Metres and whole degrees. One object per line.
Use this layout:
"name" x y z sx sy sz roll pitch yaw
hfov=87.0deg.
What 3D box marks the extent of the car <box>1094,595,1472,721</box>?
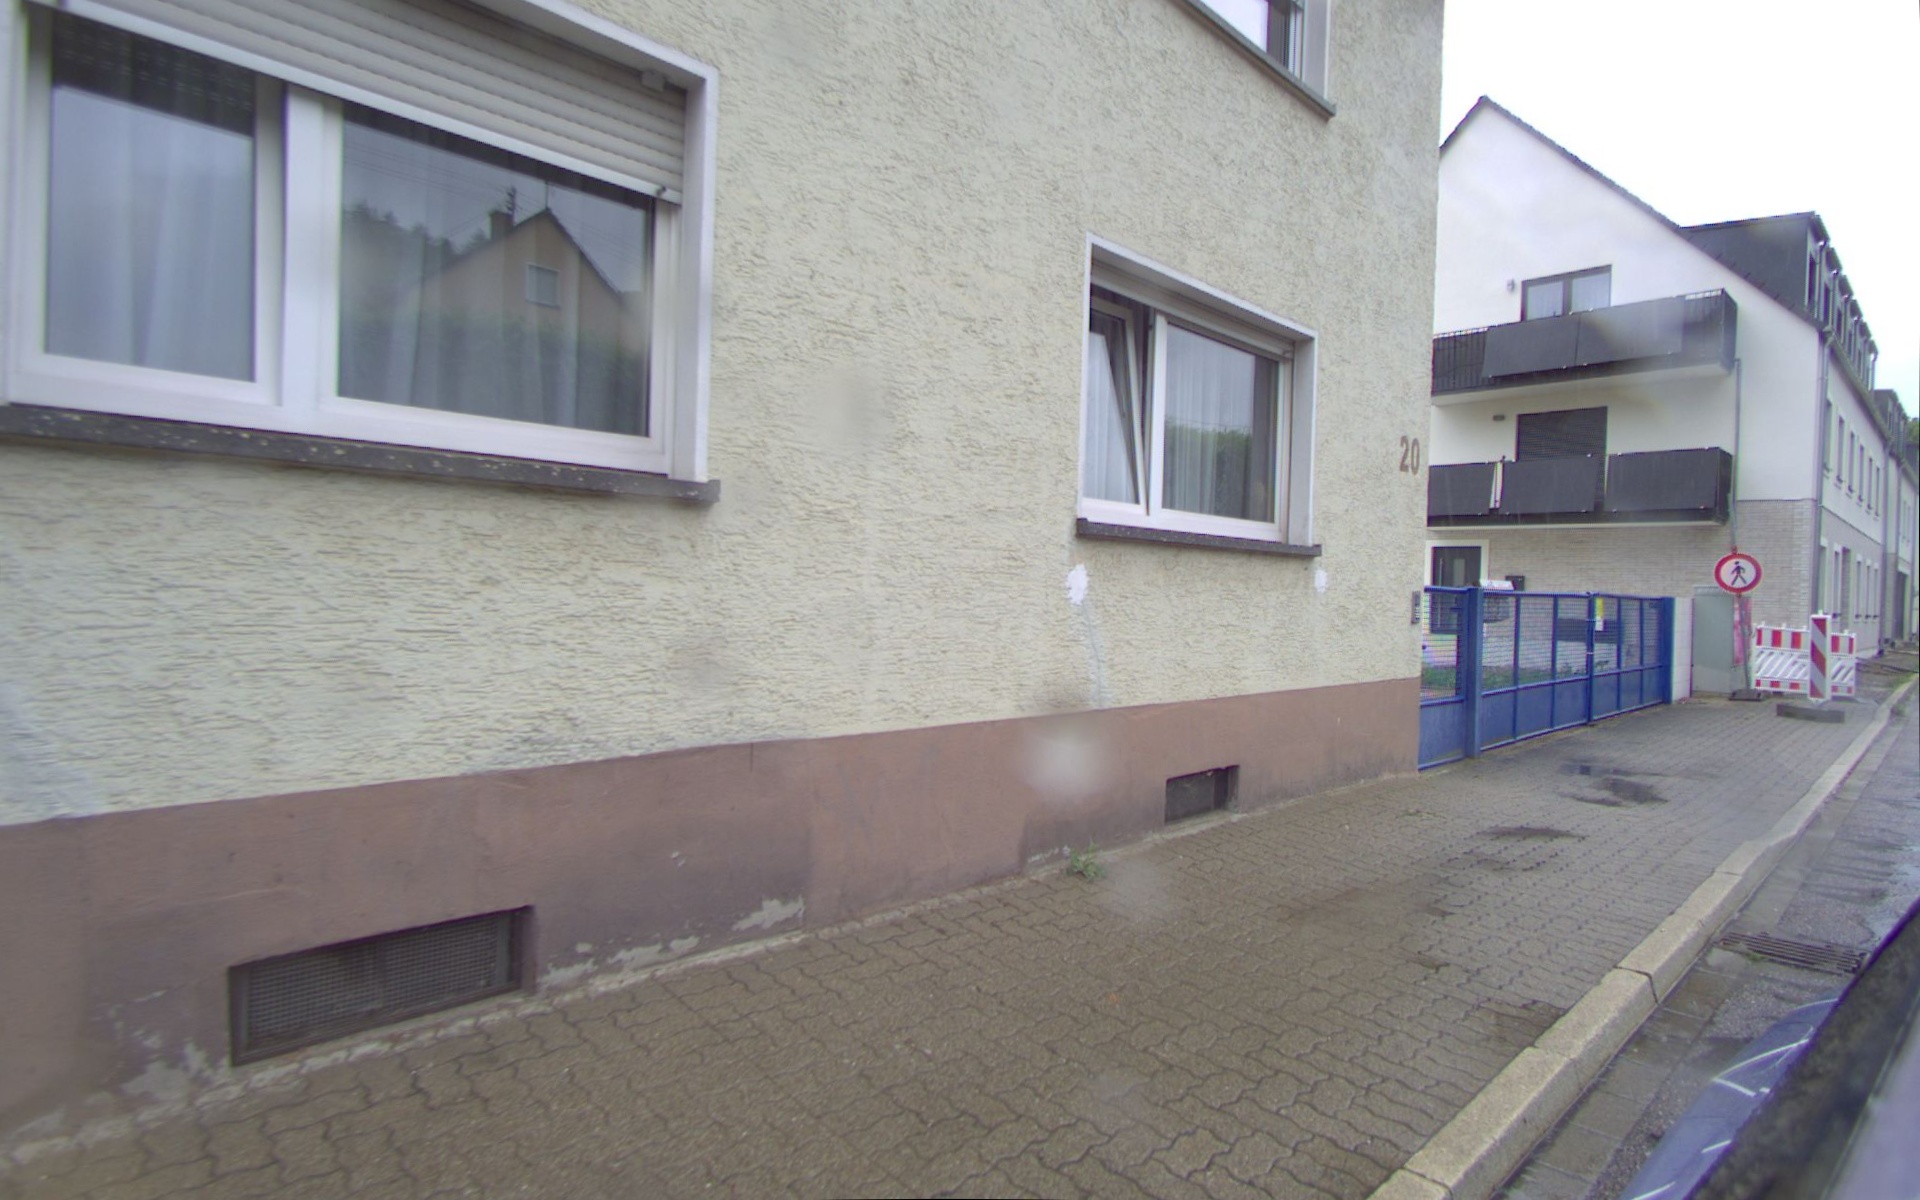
"car" 3.917 0.667 12.777 1.880 1.319 4.147 0 -2 -43
